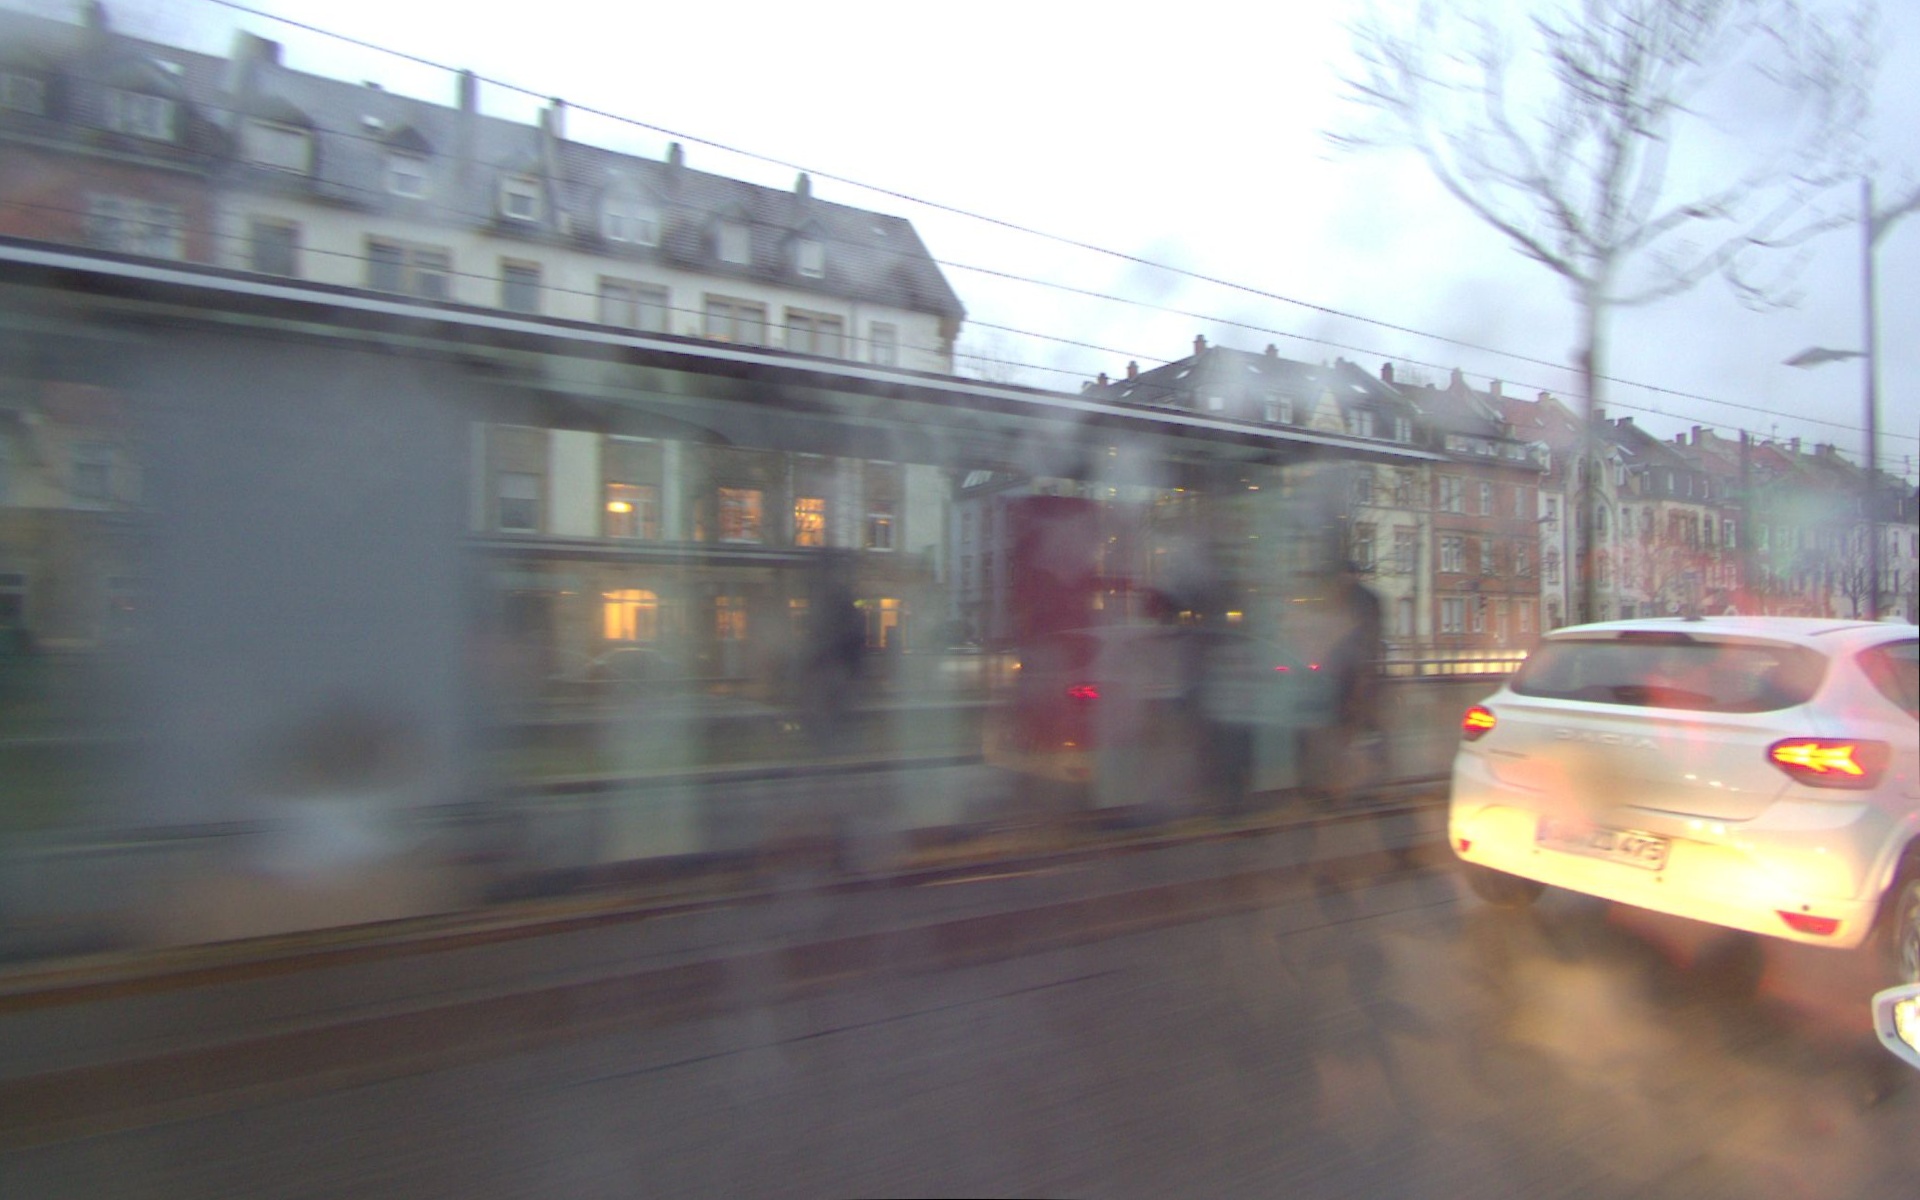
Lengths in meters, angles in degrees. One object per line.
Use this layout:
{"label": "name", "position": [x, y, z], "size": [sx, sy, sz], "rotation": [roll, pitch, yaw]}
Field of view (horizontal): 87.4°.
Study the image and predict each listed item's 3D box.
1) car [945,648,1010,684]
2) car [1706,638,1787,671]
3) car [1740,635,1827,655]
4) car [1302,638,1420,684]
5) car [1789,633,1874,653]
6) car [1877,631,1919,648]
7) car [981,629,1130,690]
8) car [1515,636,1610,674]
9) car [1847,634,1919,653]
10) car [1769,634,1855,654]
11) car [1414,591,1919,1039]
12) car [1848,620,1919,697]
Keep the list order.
{"label": "car", "position": [0.602, 2.084, 32.118], "size": [1.551, 1.084, 3.421], "rotation": [-1, -3, 10]}
{"label": "car", "position": [36.156, 2.498, 46.157], "size": [3.722, 1.416, 1.647], "rotation": [1, -3, -30]}
{"label": "car", "position": [50.654, 2.782, 61.859], "size": [1.626, 1.171, 3.765], "rotation": [0, -3, -24]}
{"label": "car", "position": [13.308, 1.991, 33.307], "size": [3.722, 1.416, 1.647], "rotation": [1, -3, -30]}
{"label": "car", "position": [55.809, 2.769, 64.414], "size": [1.626, 1.171, 3.765], "rotation": [0, -3, -24]}
{"label": "car", "position": [67.322, 2.784, 70.692], "size": [1.626, 1.171, 3.765], "rotation": [0, -3, -24]}
{"label": "car", "position": [2.562, 1.554, 26.795], "size": [3.722, 1.509, 1.647], "rotation": [1, -3, -30]}
{"label": "car", "position": [23.899, 2.173, 39.826], "size": [3.722, 1.416, 1.647], "rotation": [1, -3, -30]}
{"label": "car", "position": [62.286, 2.932, 67.455], "size": [1.626, 1.171, 3.765], "rotation": [0, -3, -24]}
{"label": "car", "position": [53.345, 2.779, 62.928], "size": [1.626, 1.171, 3.765], "rotation": [0, -3, -24]}
{"label": "car", "position": [4.293, 0.768, 5.119], "size": [3.953, 1.506, 1.619], "rotation": [0, -2, -31]}
{"label": "car", "position": [24.622, 1.445, 25.461], "size": [3.953, 1.846, 1.985], "rotation": [1, -3, -30]}
